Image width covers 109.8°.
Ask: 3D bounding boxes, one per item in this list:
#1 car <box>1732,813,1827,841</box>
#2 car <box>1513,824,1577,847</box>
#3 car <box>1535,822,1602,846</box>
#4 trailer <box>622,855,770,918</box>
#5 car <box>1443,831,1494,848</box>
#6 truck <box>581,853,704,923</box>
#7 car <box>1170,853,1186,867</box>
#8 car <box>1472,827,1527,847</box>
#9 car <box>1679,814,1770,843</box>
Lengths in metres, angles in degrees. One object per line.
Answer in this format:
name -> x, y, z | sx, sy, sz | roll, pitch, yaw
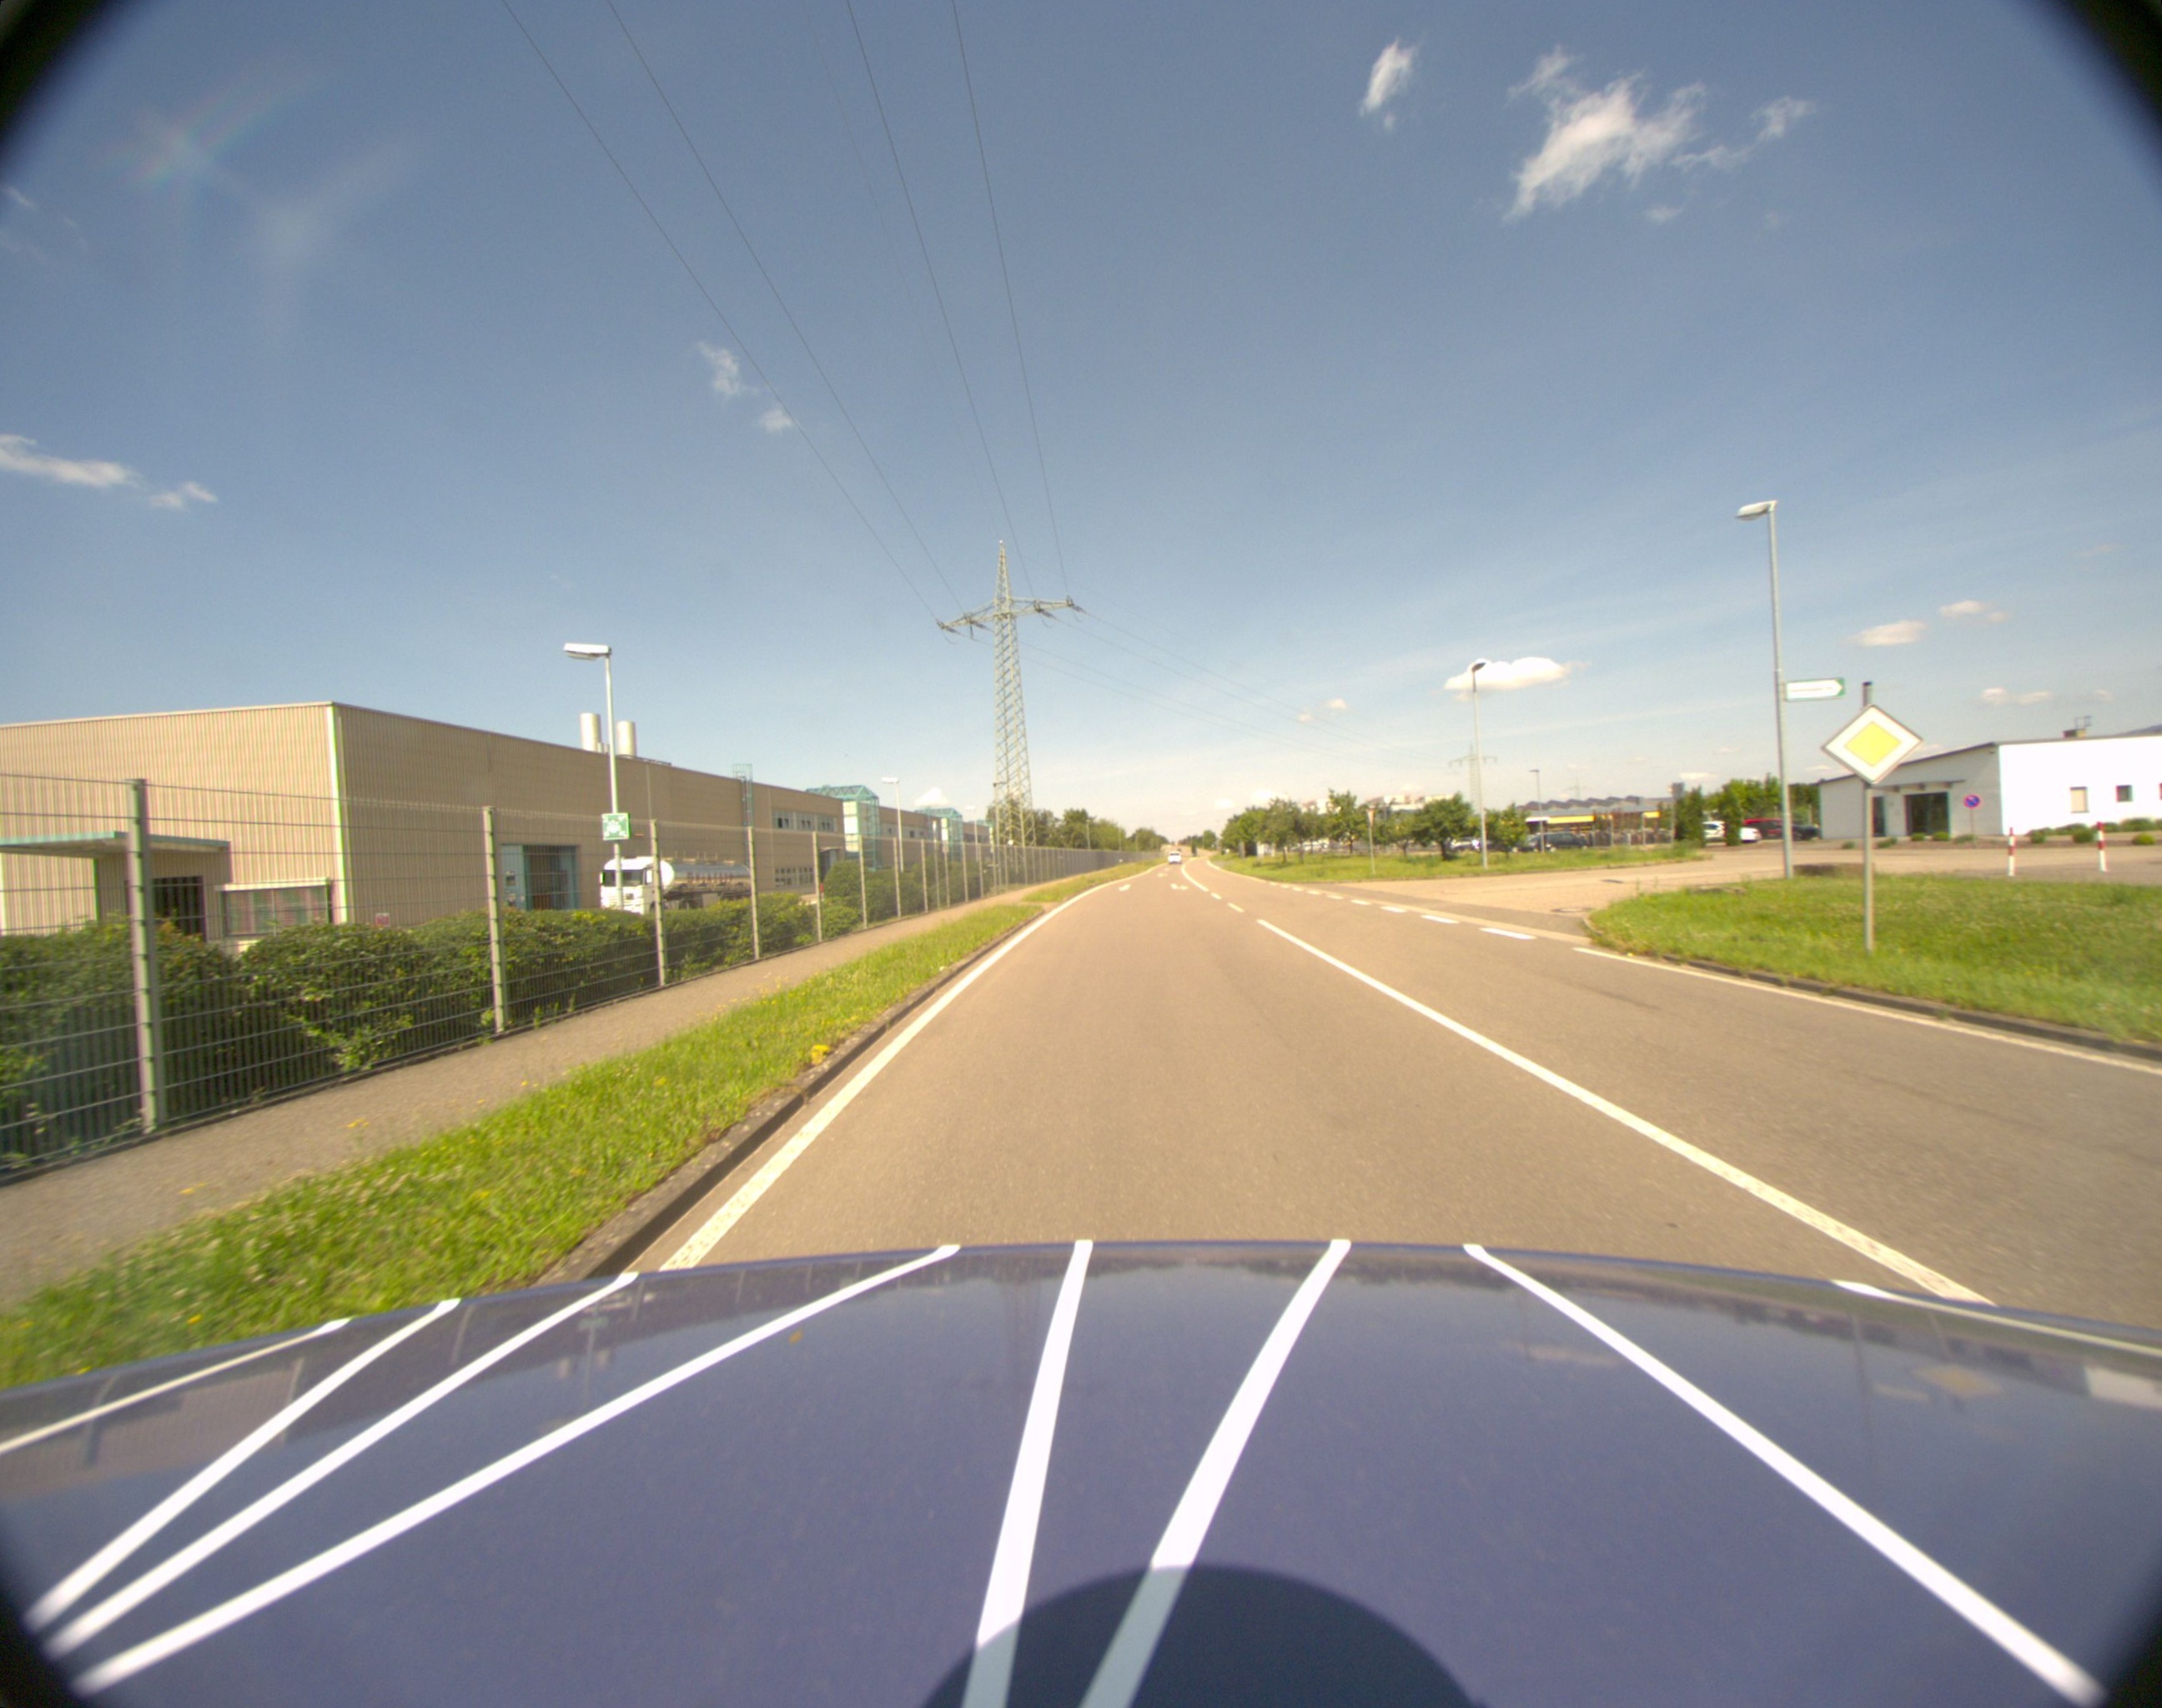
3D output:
car -> 46.526, -1.763, 50.677 | 2.002, 1.519, 4.162 | -4, 0, -26
car -> 38.295, -1.502, 62.779 | 3.996, 1.630, 1.858 | -4, 0, 3
car -> 38.595, -1.580, 60.223 | 3.996, 1.630, 2.000 | -4, 0, 3
trailer -> -26.292, 2.010, 53.072 | 3.599, 3.713, 12.239 | -2, 0, 2
car -> 38.858, -1.453, 76.225 | 3.996, 1.519, 2.000 | -3, 0, 3
truck -> -26.487, 1.948, 46.359 | 3.603, 3.845, 6.408 | -2, 0, 0
car -> 14.171, 0.865, 110.972 | 1.997, 1.904, 4.003 | -3, 1, 12
car -> 38.175, -1.578, 69.384 | 3.996, 1.546, 1.666 | -4, 0, 3
car -> 43.092, -1.699, 50.981 | 2.002, 1.630, 4.162 | -4, 0, -26
